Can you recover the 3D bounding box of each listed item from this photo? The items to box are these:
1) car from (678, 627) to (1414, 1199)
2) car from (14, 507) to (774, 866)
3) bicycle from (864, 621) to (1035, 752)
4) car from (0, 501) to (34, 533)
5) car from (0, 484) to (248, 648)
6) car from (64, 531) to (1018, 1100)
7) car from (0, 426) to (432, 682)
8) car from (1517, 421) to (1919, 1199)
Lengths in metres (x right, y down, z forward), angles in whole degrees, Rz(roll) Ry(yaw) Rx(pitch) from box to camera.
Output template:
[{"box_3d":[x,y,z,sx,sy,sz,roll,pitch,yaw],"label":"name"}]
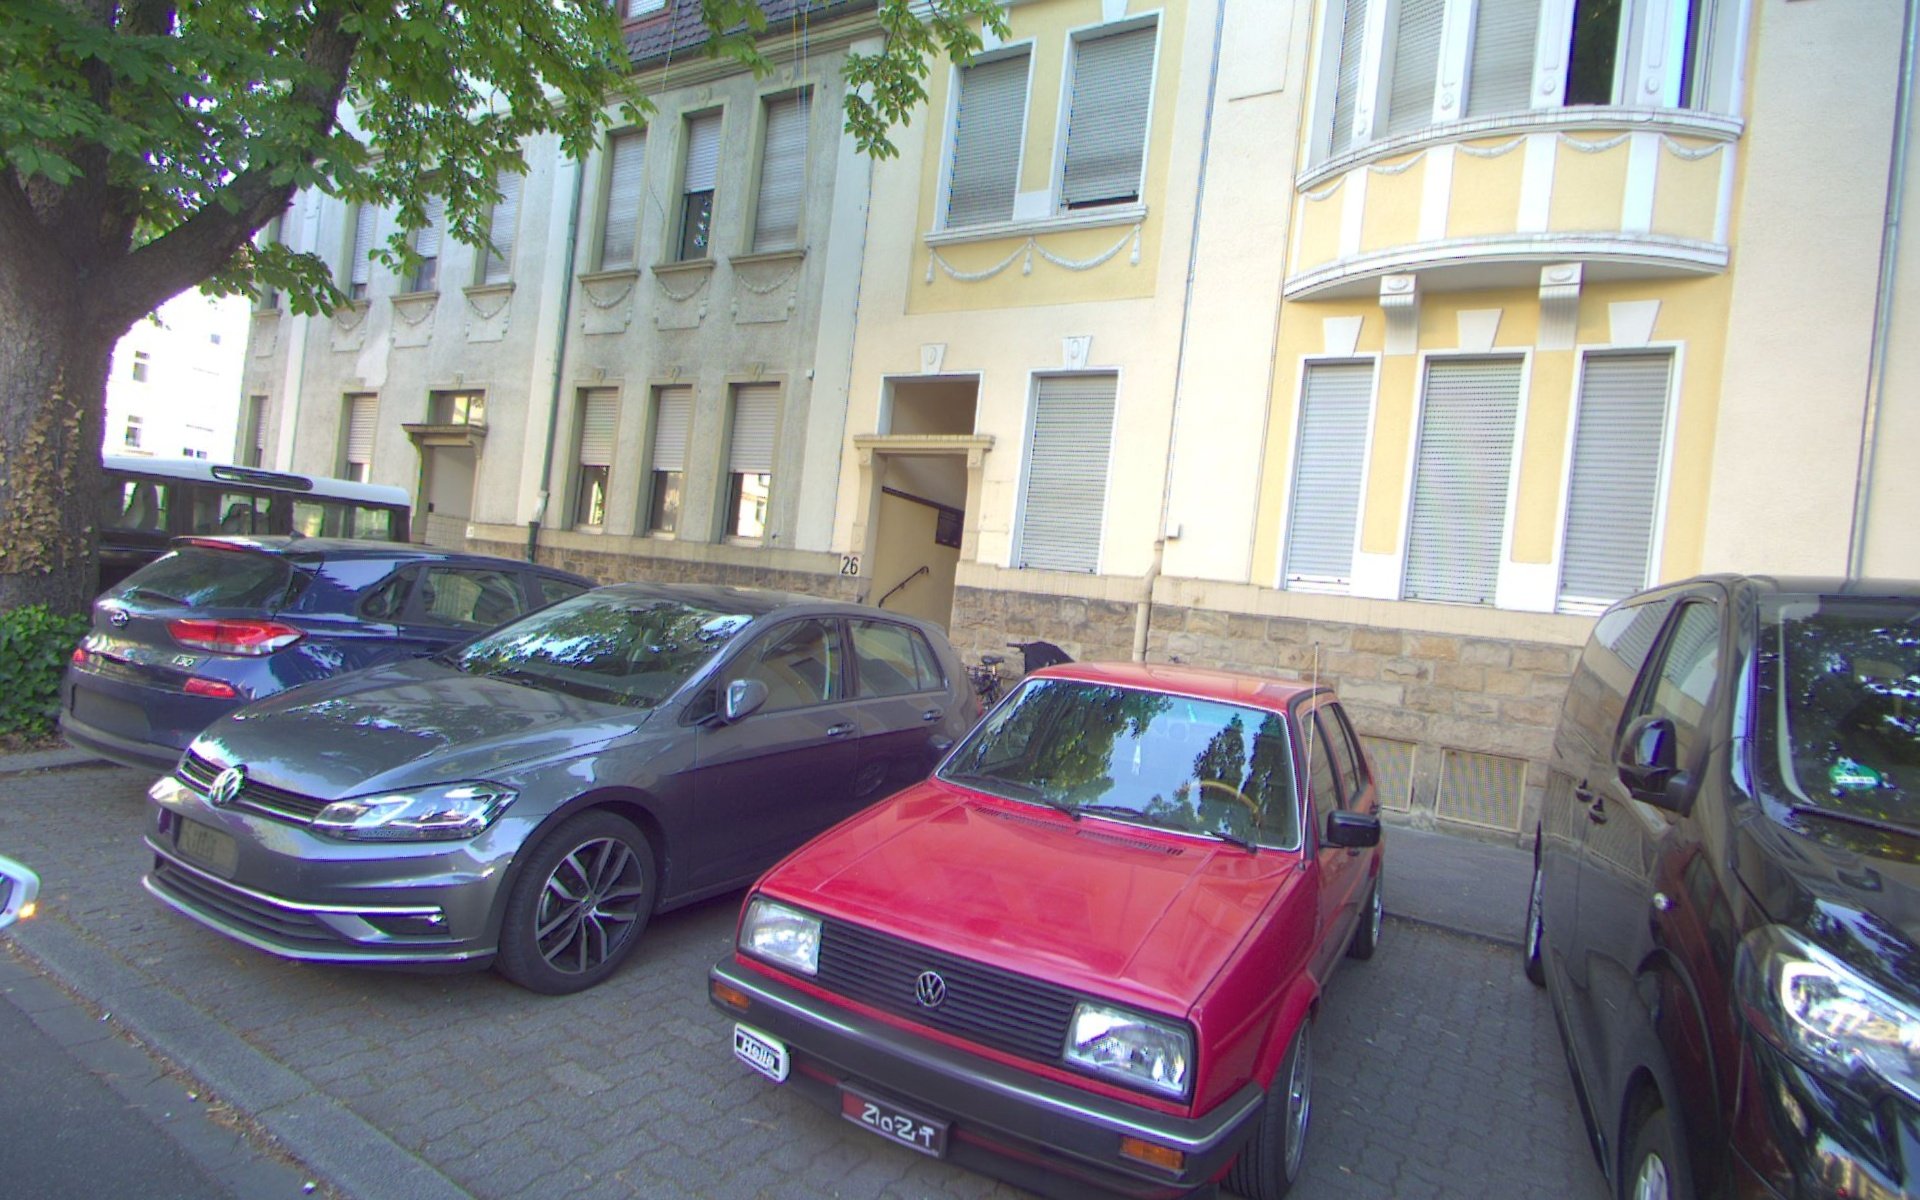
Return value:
[{"box_3d":[0.847,0.899,4.220,1.532,1.337,3.916,6,0,29],"label":"car"},{"box_3d":[-3.029,0.414,6.221,1.600,1.440,3.754,6,0,29],"label":"car"},{"box_3d":[-0.129,0.861,10.429,1.675,1.090,0.500,7,2,31],"label":"bicycle"},{"box_3d":[-36.510,-3.263,36.934,1.357,1.081,3.370,7,-1,30],"label":"car"},{"box_3d":[-10.044,-0.401,10.776,1.680,1.606,3.488,7,0,25],"label":"car"},{"box_3d":[-1.365,0.645,4.839,1.600,1.440,4.054,6,0,29],"label":"car"},{"box_3d":[-7.611,-0.377,9.307,1.762,1.981,4.496,7,1,29],"label":"car"},{"box_3d":[2.888,0.895,2.941,1.848,1.847,4.829,6,0,27],"label":"car"}]
